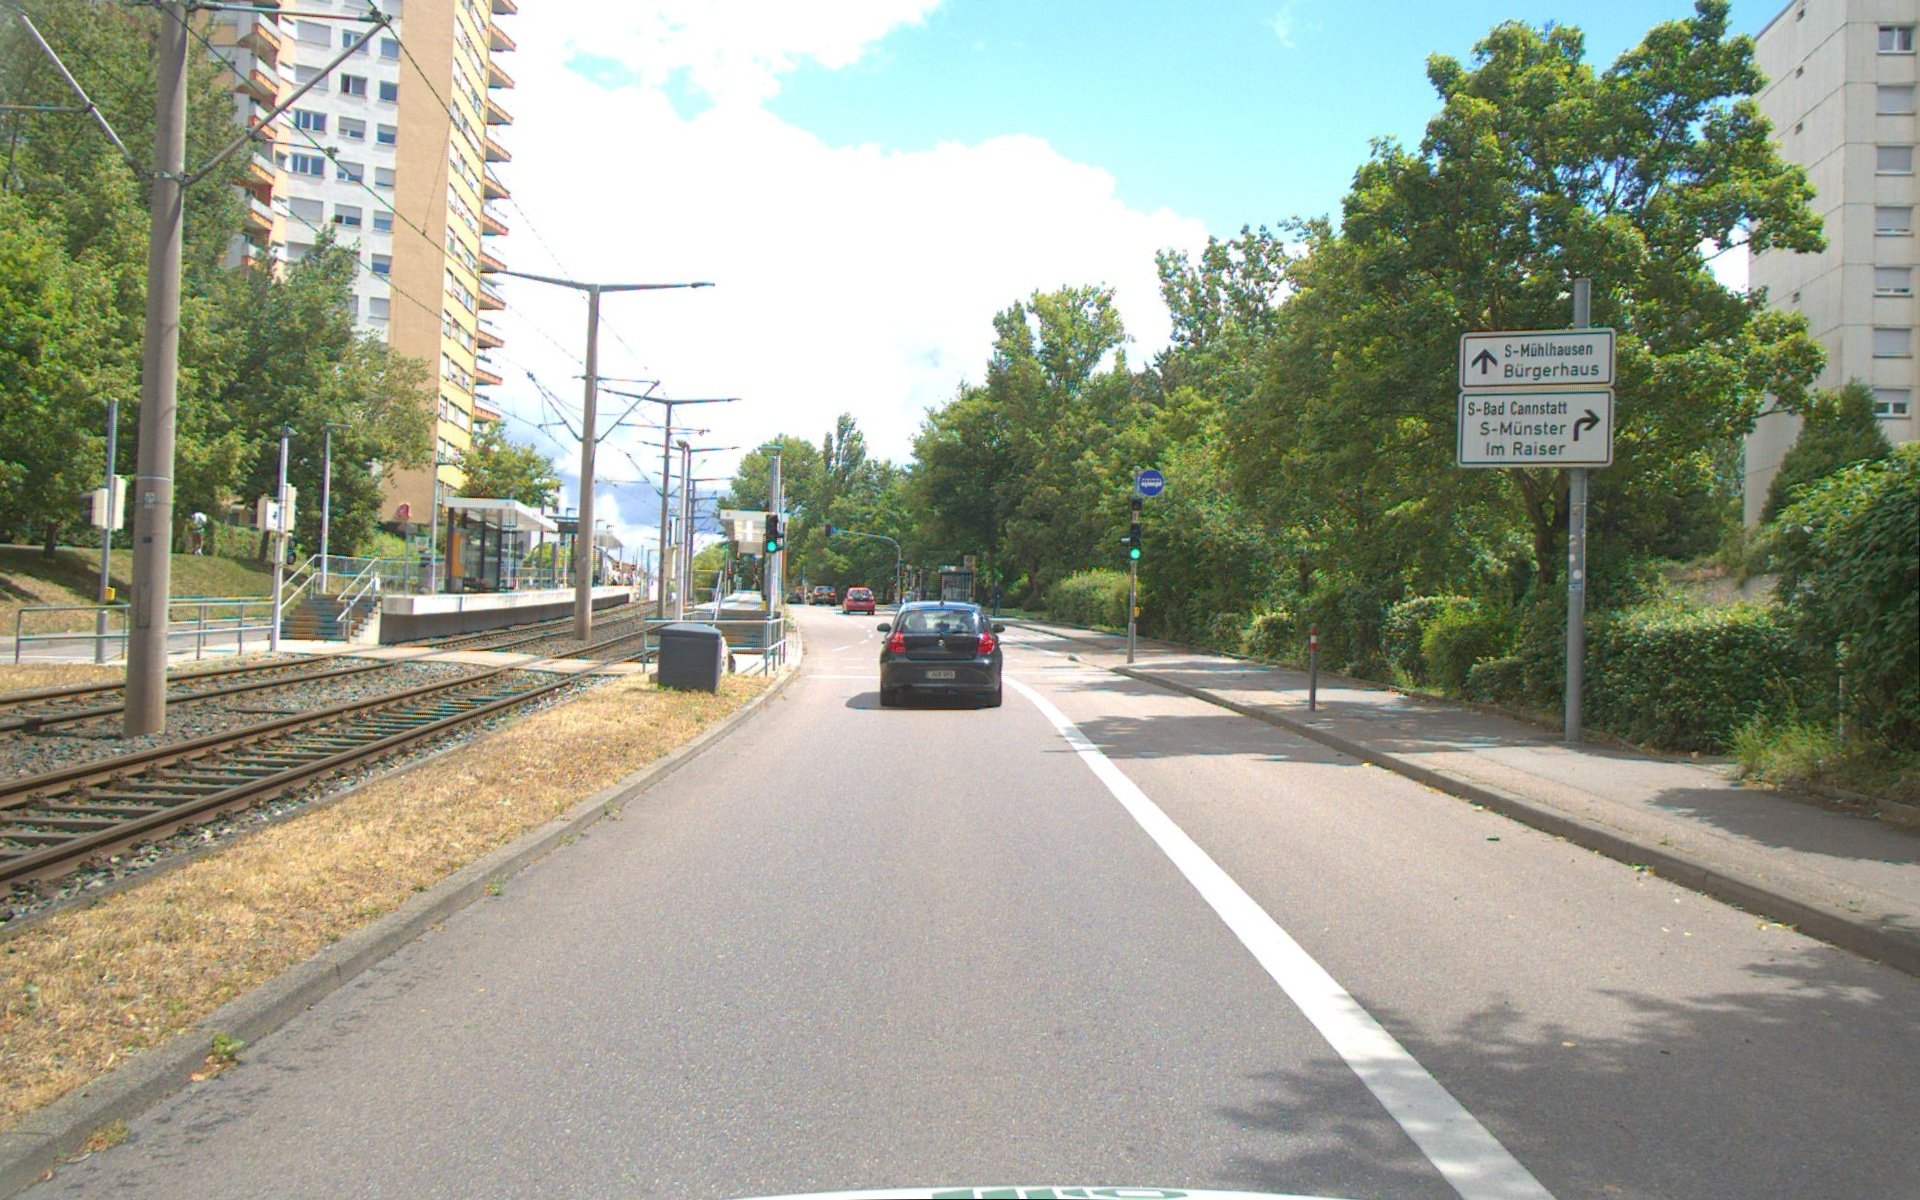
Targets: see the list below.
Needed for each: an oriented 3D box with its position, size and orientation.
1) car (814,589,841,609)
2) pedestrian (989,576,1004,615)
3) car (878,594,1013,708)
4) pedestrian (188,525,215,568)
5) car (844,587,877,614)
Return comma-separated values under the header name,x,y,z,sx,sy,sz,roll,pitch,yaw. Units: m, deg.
name,x,y,z,sx,sy,sz,roll,pitch,yaw
car,-10.072,-0.105,125.528,1.873,1.485,3.996,1,0,-7
pedestrian,1.934,-0.224,87.106,0.725,2.049,0.681,1,0,-1
car,-0.290,0.669,23.809,1.746,1.485,3.918,0,0,-4
pedestrian,-28.117,-1.981,61.334,0.620,1.561,0.635,1,0,16
car,-5.631,0.024,93.164,1.746,1.485,3.917,1,0,-5
